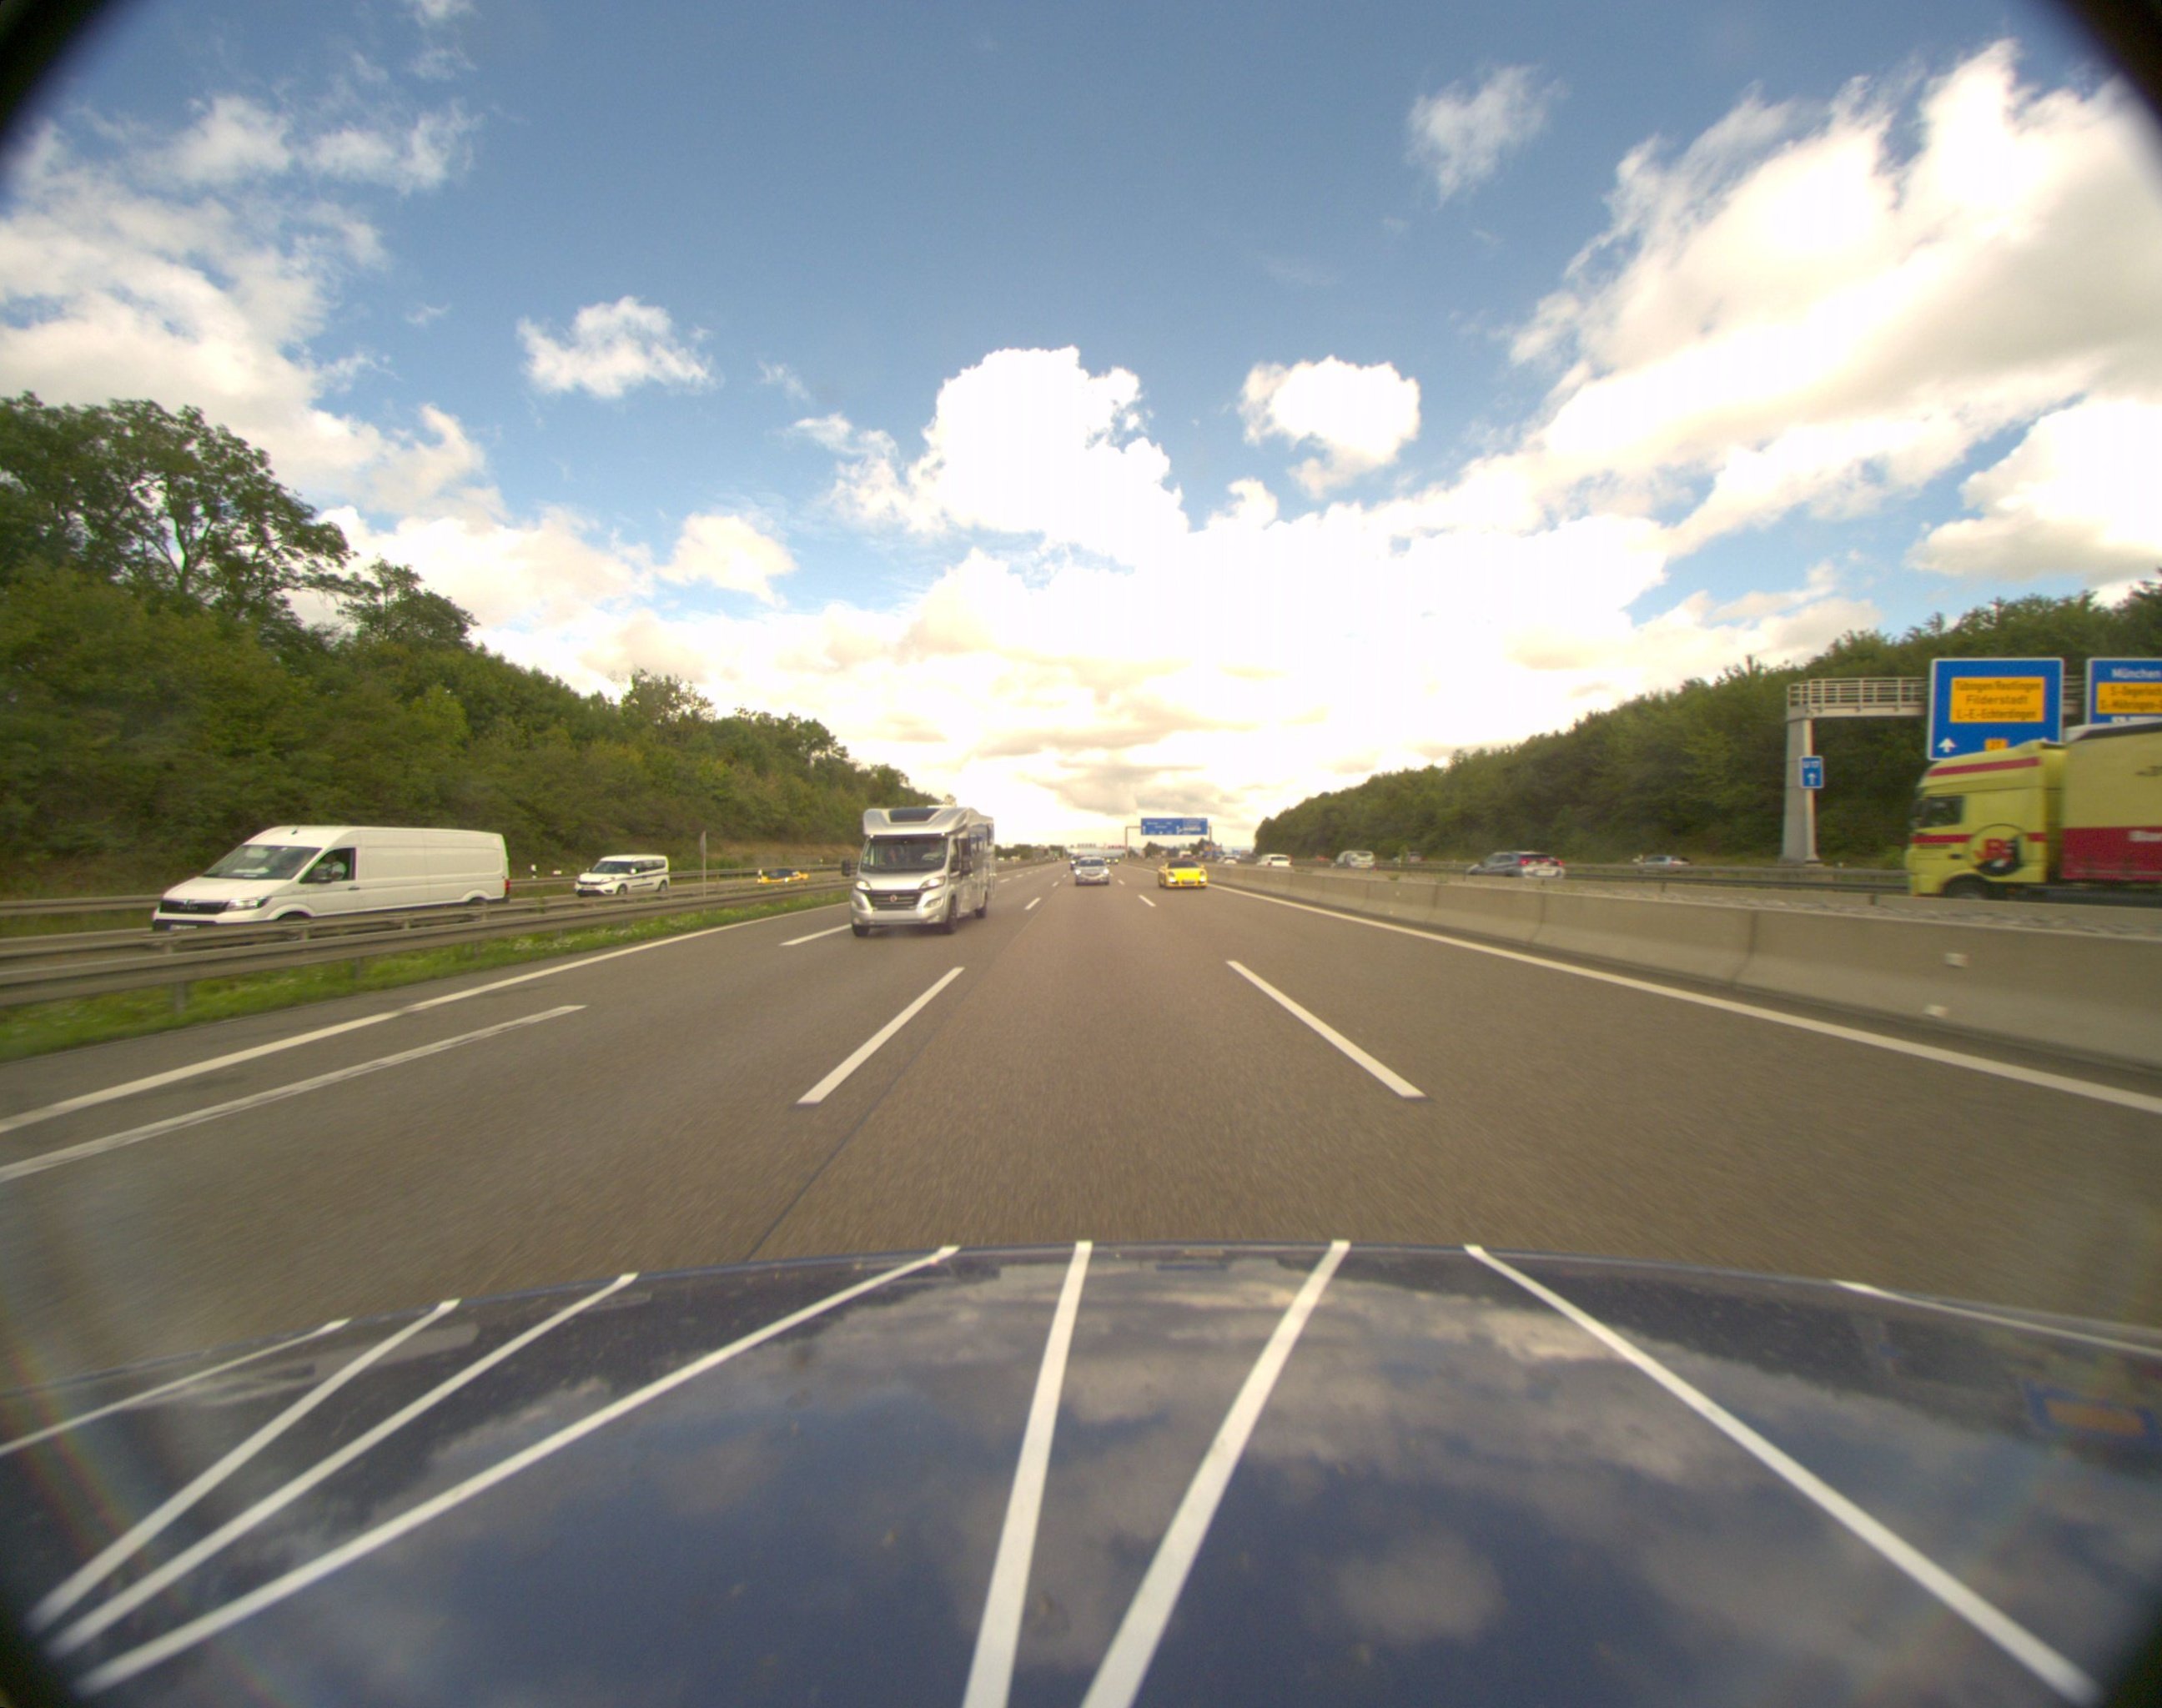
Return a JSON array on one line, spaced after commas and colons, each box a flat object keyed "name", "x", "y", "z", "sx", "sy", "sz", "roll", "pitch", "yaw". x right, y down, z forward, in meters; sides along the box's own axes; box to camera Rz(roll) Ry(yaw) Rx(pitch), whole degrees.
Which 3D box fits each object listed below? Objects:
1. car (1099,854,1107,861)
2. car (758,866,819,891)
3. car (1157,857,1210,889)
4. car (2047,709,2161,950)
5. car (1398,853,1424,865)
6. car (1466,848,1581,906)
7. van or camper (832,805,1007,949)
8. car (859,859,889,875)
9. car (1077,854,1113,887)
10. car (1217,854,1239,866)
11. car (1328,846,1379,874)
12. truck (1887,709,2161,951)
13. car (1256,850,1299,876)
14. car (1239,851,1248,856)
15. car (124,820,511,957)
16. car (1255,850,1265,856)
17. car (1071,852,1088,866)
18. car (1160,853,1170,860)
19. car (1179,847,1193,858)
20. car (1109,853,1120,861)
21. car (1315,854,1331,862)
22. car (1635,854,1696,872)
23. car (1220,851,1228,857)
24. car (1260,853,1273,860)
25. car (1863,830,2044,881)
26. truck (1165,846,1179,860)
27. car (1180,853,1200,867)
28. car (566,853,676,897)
[{"name": "car", "x": 6.173, "y": 0.994, "z": 214.475, "sx": 1.998, "sy": 2.002, "sz": 4.589, "roll": 0, "pitch": 0, "yaw": 1}, {"name": "car", "x": -16.094, "y": 1.324, "z": 41.974, "sx": 1.716, "sy": 1.175, "sz": 4.168, "roll": -2, "pitch": 0, "yaw": 0}, {"name": "car", "x": 4.524, "y": 0.812, "z": 34.034, "sx": 1.811, "sy": 1.307, "sz": 4.247, "roll": 1, "pitch": 0, "yaw": 0}, {"name": "car", "x": 20.640, "y": -0.436, "z": 8.042, "sx": 2.913, "sy": 4.300, "sz": 14.144, "roll": 0, "pitch": 0, "yaw": 0}, {"name": "car", "x": 39.098, "y": 0.574, "z": 90.115, "sx": 1.469, "sy": 1.418, "sz": 3.760, "roll": 0, "pitch": 0, "yaw": 0}, {"name": "car", "x": 16.772, "y": 0.807, "z": 29.094, "sx": 1.757, "sy": 2.002, "sz": 4.553, "roll": -2, "pitch": 0, "yaw": 0}, {"name": "van or camper", "x": -3.491, "y": 0.432, "z": 18.477, "sx": 2.475, "sy": 2.706, "sz": 7.661, "roll": -2, "pitch": 0, "yaw": 0}, {"name": "car", "x": -20.415, "y": 1.265, "z": 74.972, "sx": 1.716, "sy": 1.407, "sz": 4.169, "roll": -1, "pitch": 0, "yaw": 1}, {"name": "car", "x": 0.650, "y": 0.781, "z": 37.962, "sx": 1.688, "sy": 1.476, "sz": 4.615, "roll": -1, "pitch": 0, "yaw": 0}, {"name": "car", "x": 17.430, "y": 0.694, "z": 90.309, "sx": 1.775, "sy": 1.287, "sz": 4.675, "roll": -2, "pitch": 0, "yaw": 0}, {"name": "car", "x": 16.963, "y": 0.358, "z": 47.555, "sx": 1.598, "sy": 1.601, "sz": 4.463, "roll": -2, "pitch": 0, "yaw": 0}, {"name": "truck", "x": 20.696, "y": -0.437, "z": 15.567, "sx": 2.904, "sy": 4.298, "sz": 5.161, "roll": 0, "pitch": 0, "yaw": 1}, {"name": "car", "x": 13.005, "y": 0.561, "z": 50.543, "sx": 1.780, "sy": 1.563, "sz": 4.180, "roll": -2, "pitch": 0, "yaw": 1}, {"name": "car", "x": 45.802, "y": -0.103, "z": 214.017, "sx": 1.596, "sy": 1.486, "sz": 4.509, "roll": 0, "pitch": 0, "yaw": 0}, {"name": "car", "x": -16.746, "y": 0.648, "z": 17.531, "sx": 2.075, "sy": 2.539, "sz": 6.742, "roll": 0, "pitch": 0, "yaw": 0}, {"name": "car", "x": 44.611, "y": -0.296, "z": 189.310, "sx": 1.596, "sy": 1.486, "sz": 4.180, "roll": 0, "pitch": 0, "yaw": 0}, {"name": "car", "x": -0.168, "y": 0.560, "z": 87.944, "sx": 1.876, "sy": 1.626, "sz": 4.859, "roll": -1, "pitch": 0, "yaw": 0}, {"name": "car", "x": 18.842, "y": 0.446, "z": 170.272, "sx": 1.741, "sy": 1.502, "sz": 4.051, "roll": -1, "pitch": 0, "yaw": 0}, {"name": "car", "x": 21.923, "y": -0.268, "z": 159.020, "sx": 2.170, "sy": 2.258, "sz": 6.460, "roll": -1, "pitch": 0, "yaw": 0}, {"name": "car", "x": 5.508, "y": 0.494, "z": 125.019, "sx": 1.593, "sy": 1.307, "sz": 3.978, "roll": 1, "pitch": 0, "yaw": 0}, {"name": "car", "x": 43.128, "y": 0.667, "z": 135.716, "sx": 1.567, "sy": 1.357, "sz": 4.051, "roll": -1, "pitch": 0, "yaw": 0}, {"name": "car", "x": 41.680, "y": 0.611, "z": 54.301, "sx": 1.469, "sy": 1.211, "sz": 3.760, "roll": 0, "pitch": 0, "yaw": 0}, {"name": "car", "x": 45.549, "y": -0.004, "z": 241.842, "sx": 1.596, "sy": 1.747, "sz": 4.282, "roll": 0, "pitch": 0, "yaw": 0}, {"name": "car", "x": 35.669, "y": 0.411, "z": 146.246, "sx": 1.567, "sy": 1.357, "sz": 4.051, "roll": -1, "pitch": 0, "yaw": 0}, {"name": "car", "x": 41.195, "y": 0.079, "z": 36.186, "sx": 1.998, "sy": 2.221, "sz": 5.890, "roll": 0, "pitch": 0, "yaw": 2}, {"name": "truck", "x": 22.230, "y": -0.229, "z": 186.079, "sx": 2.359, "sy": 3.245, "sz": 7.825, "roll": -1, "pitch": 0, "yaw": 0}, {"name": "car", "x": 13.838, "y": 0.759, "z": 96.597, "sx": 1.776, "sy": 1.601, "sz": 4.465, "roll": -2, "pitch": 0, "yaw": 0}, {"name": "car", "x": -19.964, "y": 0.862, "z": 33.264, "sx": 1.848, "sy": 1.741, "sz": 4.764, "roll": -2, "pitch": 0, "yaw": 1}]
